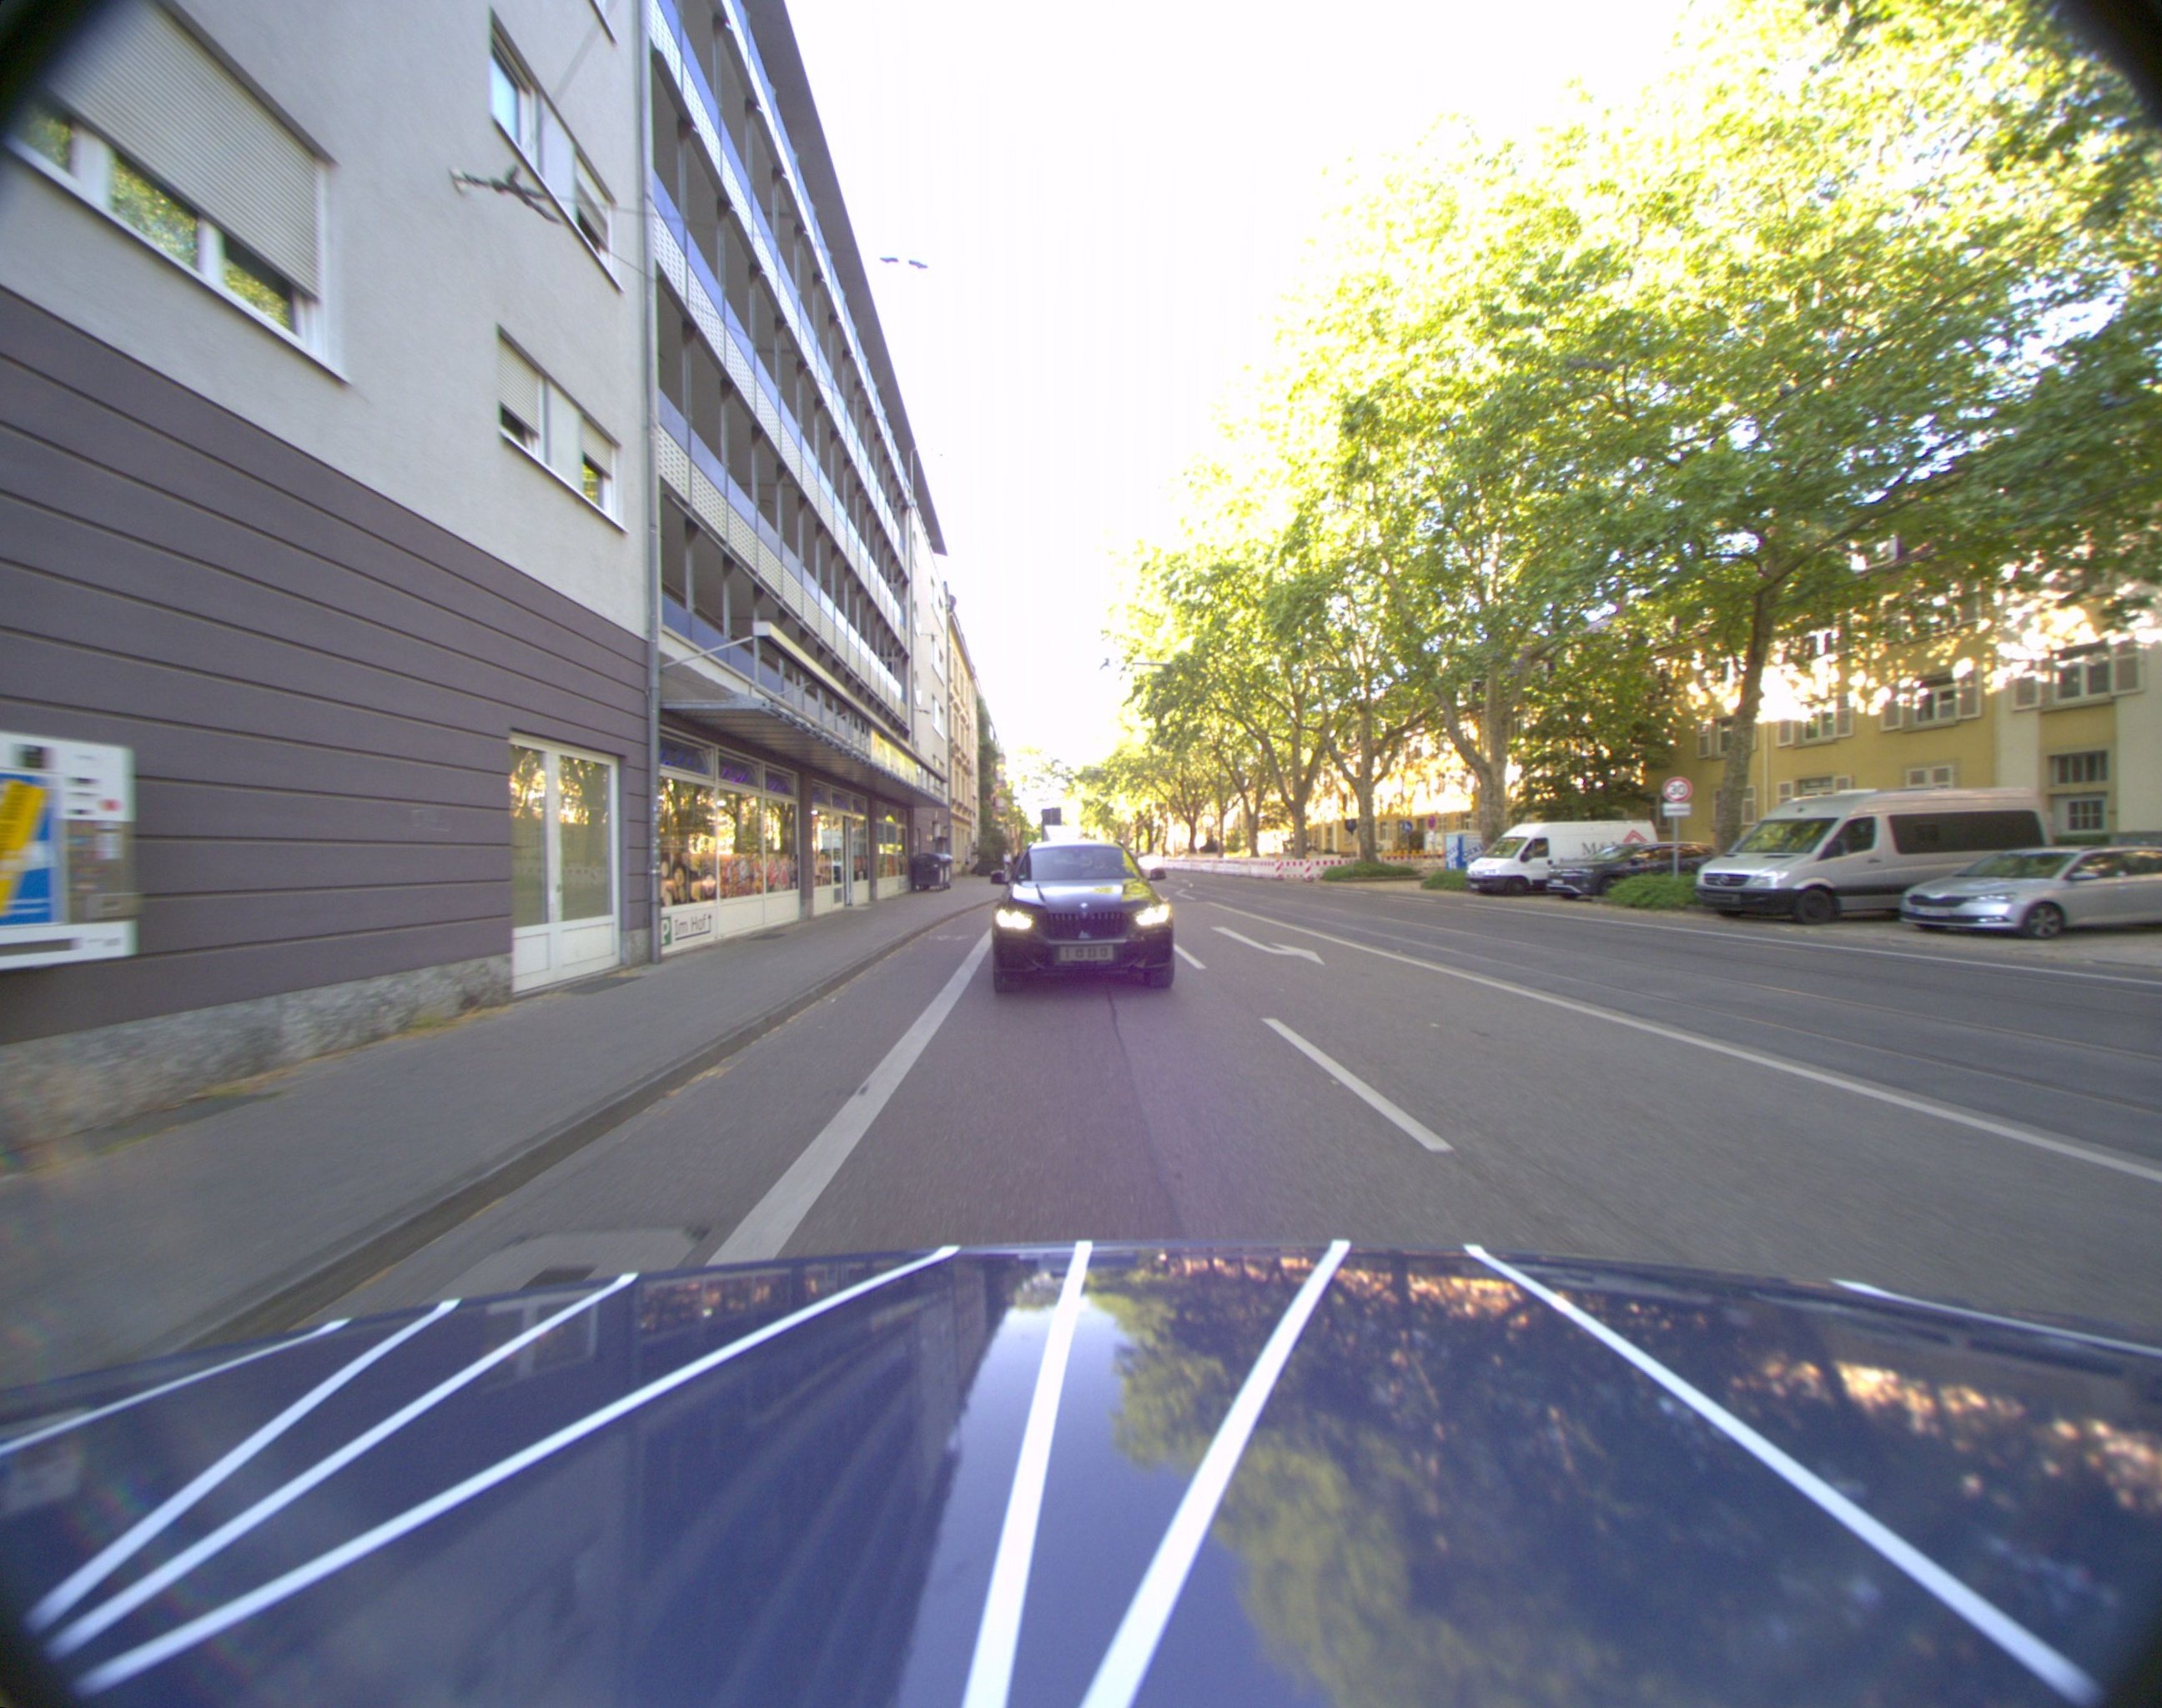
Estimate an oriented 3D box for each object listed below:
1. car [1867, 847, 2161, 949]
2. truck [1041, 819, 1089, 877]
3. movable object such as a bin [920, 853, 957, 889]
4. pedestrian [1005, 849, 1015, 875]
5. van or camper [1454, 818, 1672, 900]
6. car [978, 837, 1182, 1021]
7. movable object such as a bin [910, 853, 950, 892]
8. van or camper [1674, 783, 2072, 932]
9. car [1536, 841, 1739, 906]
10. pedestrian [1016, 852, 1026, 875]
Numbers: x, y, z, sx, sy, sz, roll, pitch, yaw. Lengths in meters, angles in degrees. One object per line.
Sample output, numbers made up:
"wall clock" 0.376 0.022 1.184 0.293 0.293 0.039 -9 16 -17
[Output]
"car" 16.223 0.685 12.776 4.276 1.438 1.693 -2 1 0
"truck" -1.001 -0.368 44.176 2.344 3.096 5.209 -2 1 -5
"movable object such as a bin" -5.668 0.652 30.348 1.203 1.402 1.372 -1 1 0
"pedestrian" -4.506 0.499 48.100 0.541 1.662 0.630 -1 1 0
"van or camper" 15.611 0.131 24.823 5.763 2.371 2.155 -2 1 -1
"car" 0.002 0.688 9.764 1.930 1.742 4.682 -2 1 0
"movable object such as a bin" -5.617 0.689 28.350 1.203 1.402 1.372 -1 1 0
"van or camper" 15.871 0.046 15.489 5.932 2.633 2.155 -2 1 -1
"car" 15.773 0.518 21.686 4.540 1.624 1.693 -2 1 0
"pedestrian" -3.706 0.581 46.784 0.541 1.437 0.630 -1 1 0
